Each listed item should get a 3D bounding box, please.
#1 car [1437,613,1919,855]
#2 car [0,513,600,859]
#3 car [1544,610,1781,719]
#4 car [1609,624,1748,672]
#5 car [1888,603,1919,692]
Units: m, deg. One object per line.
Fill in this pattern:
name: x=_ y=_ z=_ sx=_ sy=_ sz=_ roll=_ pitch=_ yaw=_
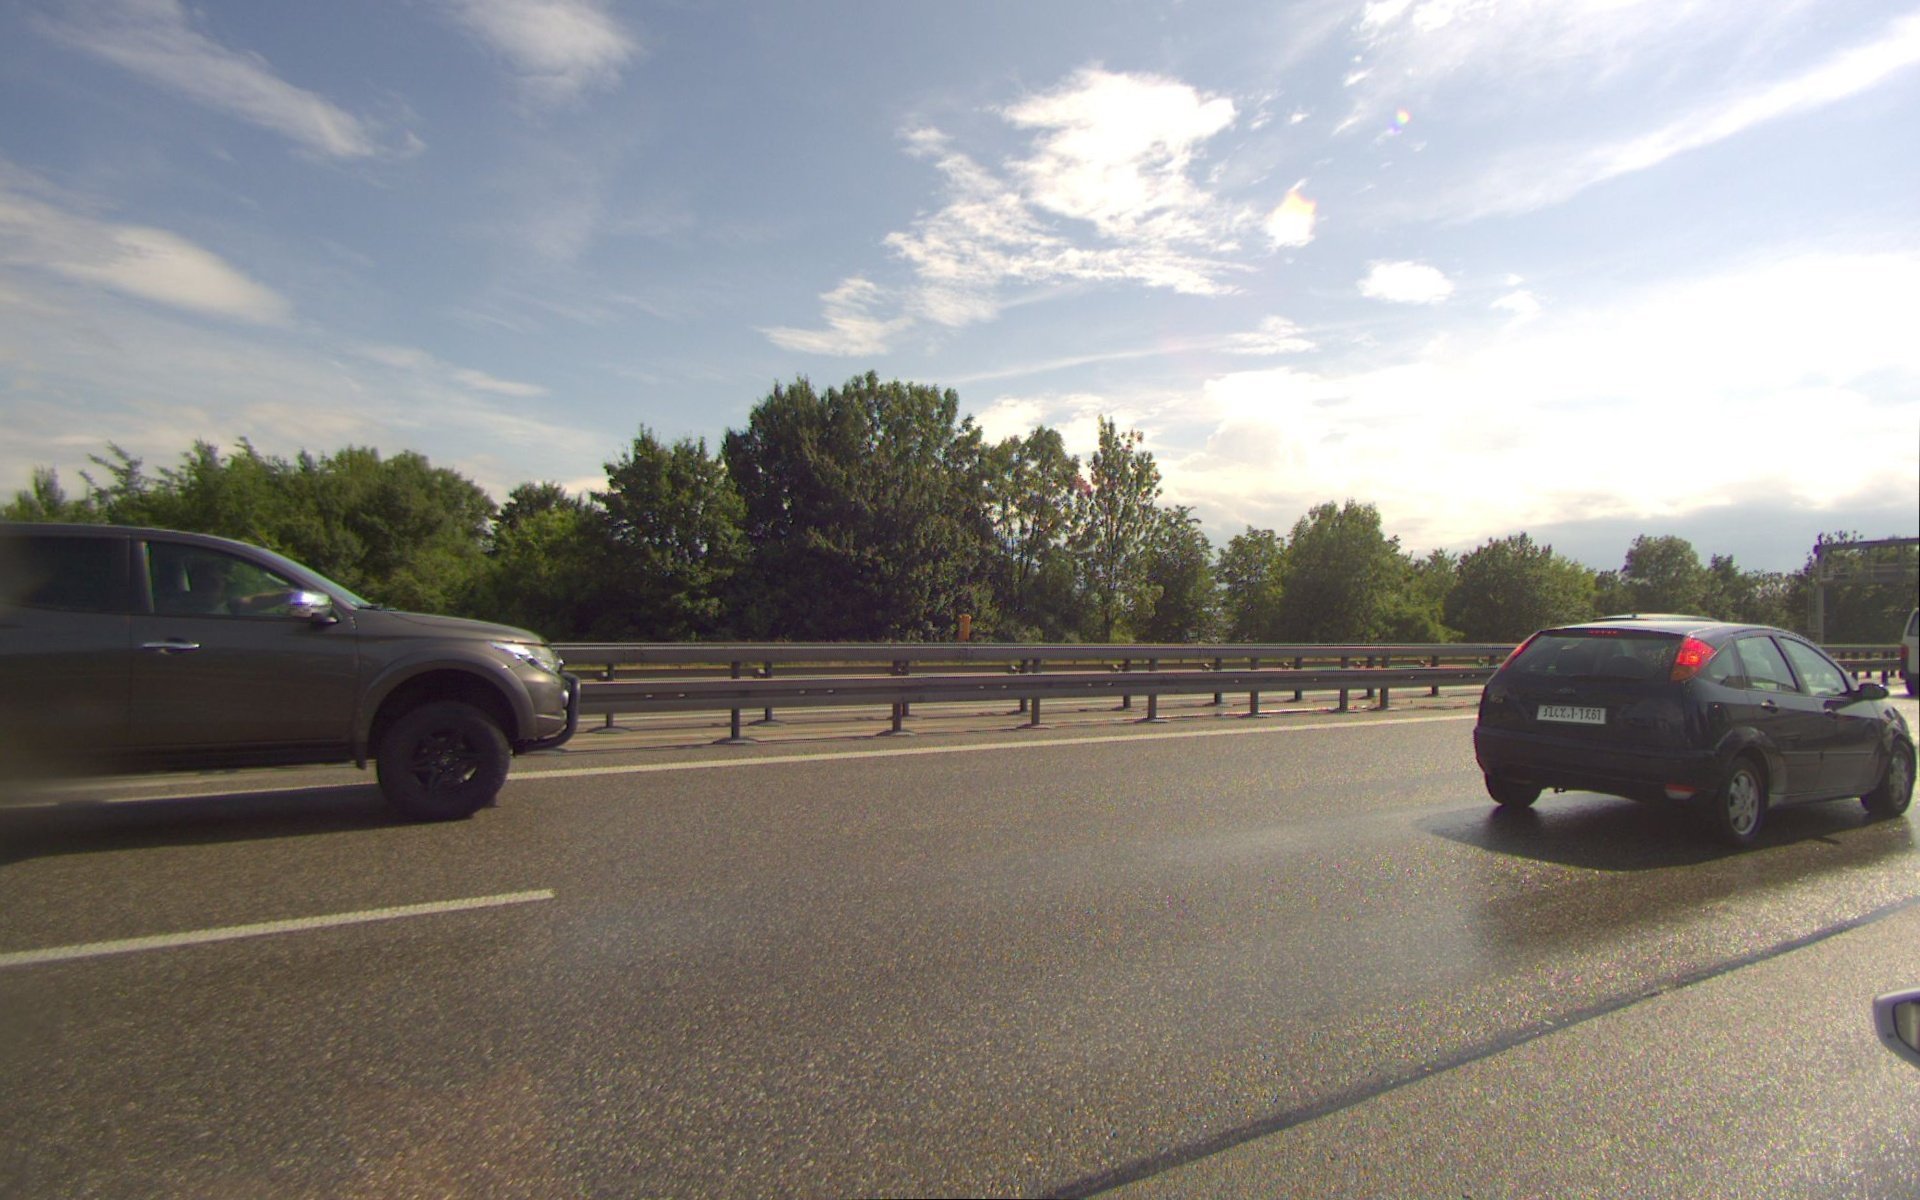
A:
car: x=5.793 y=0.870 z=7.909 sx=3.952 sy=1.462 sz=1.750 roll=1 pitch=0 yaw=-30
car: x=-5.262 y=0.471 z=6.401 sx=5.353 sy=1.869 sz=1.798 roll=1 pitch=0 yaw=-30
car: x=11.694 y=1.004 z=16.689 sx=3.870 sy=1.599 sz=1.775 roll=1 pitch=0 yaw=-30
car: x=22.391 y=1.461 z=31.267 sx=4.440 sy=1.372 sz=1.859 roll=1 pitch=0 yaw=-30
car: x=23.311 y=1.090 z=22.919 sx=4.959 sy=1.959 sz=1.838 roll=1 pitch=0 yaw=-31
